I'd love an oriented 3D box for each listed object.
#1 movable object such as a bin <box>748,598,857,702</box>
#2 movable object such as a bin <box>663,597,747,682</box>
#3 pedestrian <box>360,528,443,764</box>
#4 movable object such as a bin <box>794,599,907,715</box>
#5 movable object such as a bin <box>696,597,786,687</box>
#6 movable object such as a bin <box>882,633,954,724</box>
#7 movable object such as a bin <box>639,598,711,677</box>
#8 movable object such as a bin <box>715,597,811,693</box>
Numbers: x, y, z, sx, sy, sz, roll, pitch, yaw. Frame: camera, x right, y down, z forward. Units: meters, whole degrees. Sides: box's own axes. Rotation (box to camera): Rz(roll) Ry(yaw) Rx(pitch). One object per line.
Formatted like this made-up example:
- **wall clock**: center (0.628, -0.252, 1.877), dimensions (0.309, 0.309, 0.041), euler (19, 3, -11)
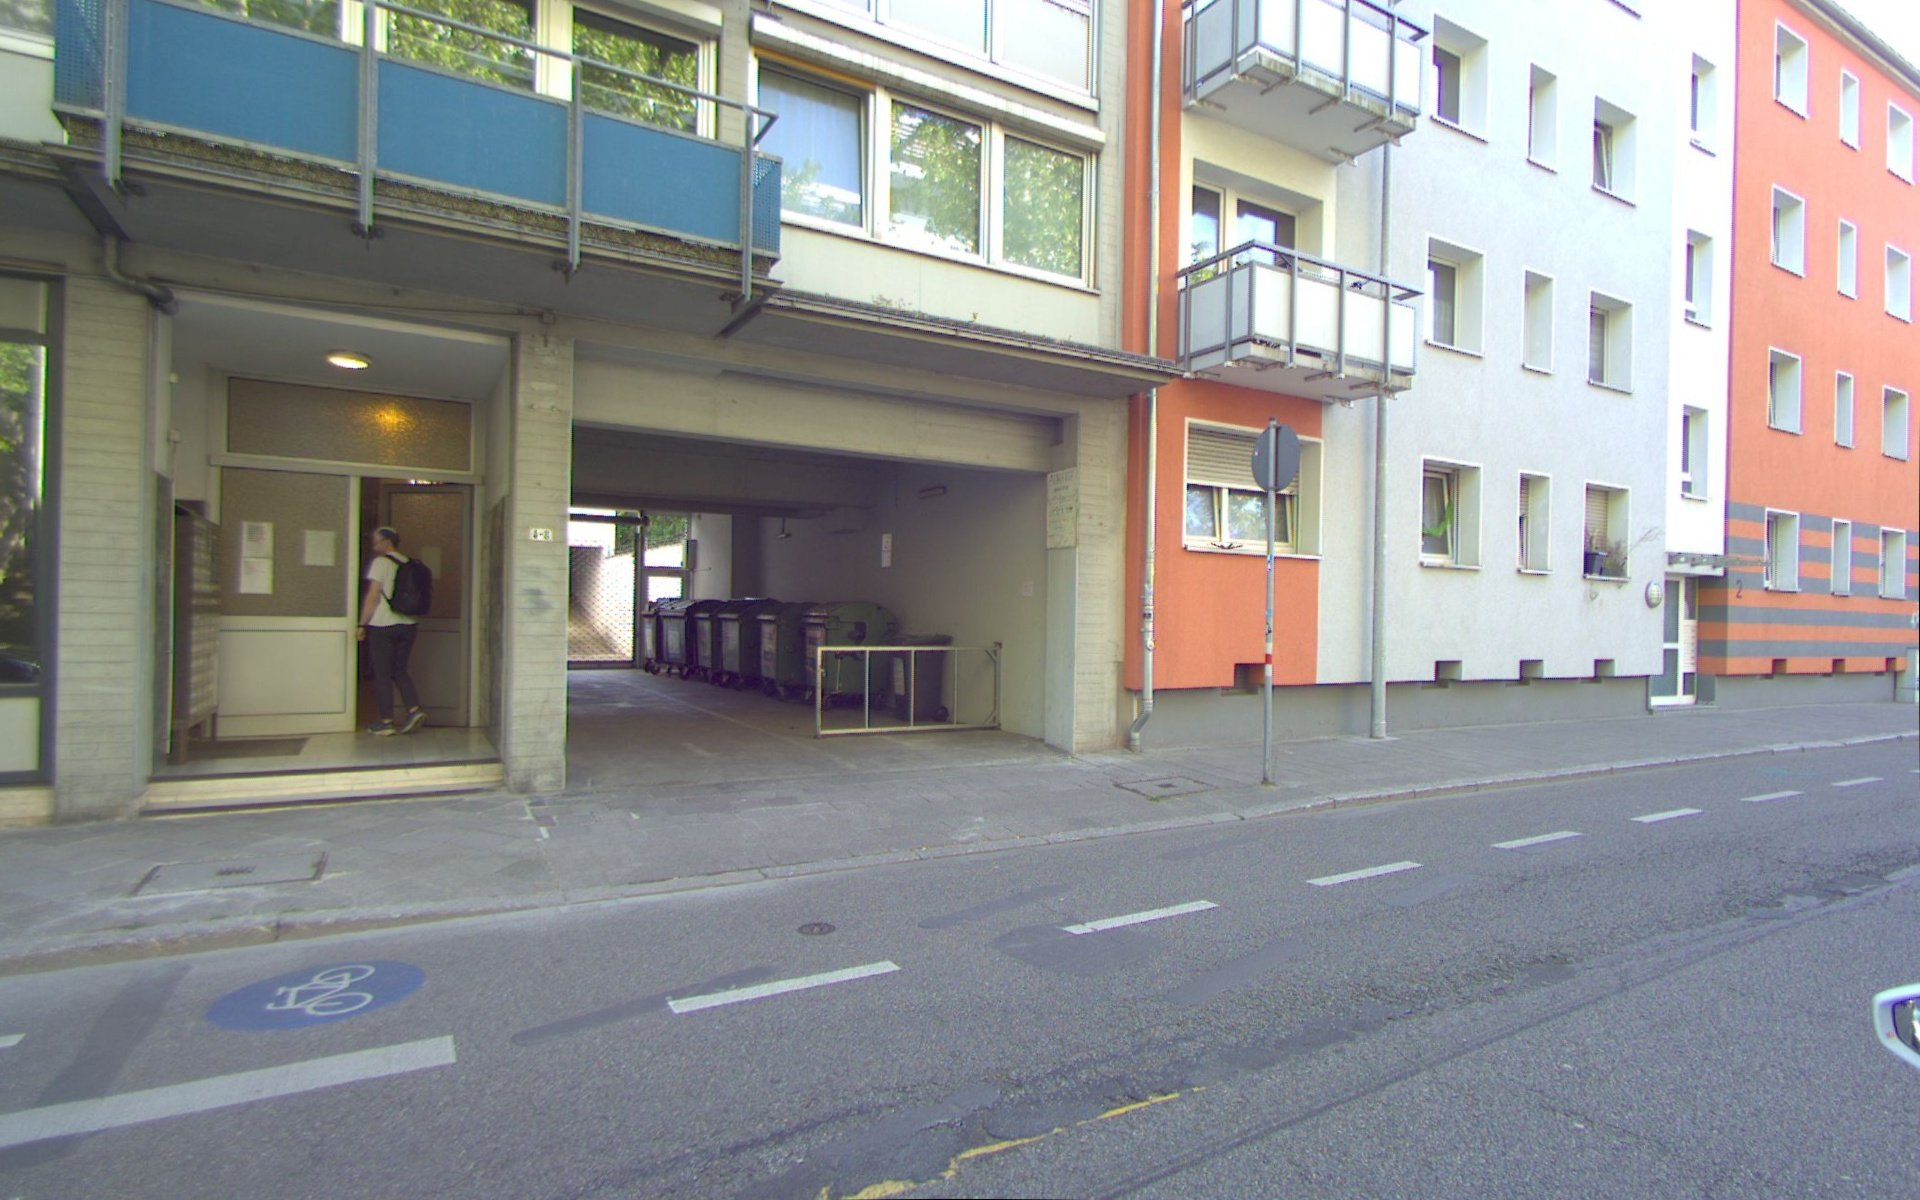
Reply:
- **movable object such as a bin**: center (-2.387, 0.735, 15.168), dimensions (1.264, 1.493, 1.265), euler (2, -1, -28)
- **movable object such as a bin**: center (-4.752, 0.720, 18.695), dimensions (1.264, 1.506, 1.155), euler (2, 0, -28)
- **pedestrian**: center (-4.917, 0.392, 8.836), dimensions (0.578, 1.985, 0.606), euler (2, 0, -31)
- **movable object such as a bin**: center (-1.521, 0.755, 13.815), dimensions (1.128, 1.484, 1.255), euler (2, 0, -28)
- **movable object such as a bin**: center (-3.887, 0.728, 17.752), dimensions (1.264, 1.515, 1.155), euler (2, 0, -28)
- **movable object such as a bin**: center (-0.522, 0.960, 12.462), dimensions (0.694, 1.061, 0.567), euler (2, 0, -28)
- **movable object such as a bin**: center (-5.671, 0.731, 19.951), dimensions (1.128, 1.484, 1.129), euler (2, 0, -28)
- **movable object such as a bin**: center (-3.284, 0.726, 16.704), dimensions (1.264, 1.506, 1.155), euler (2, 0, -28)
